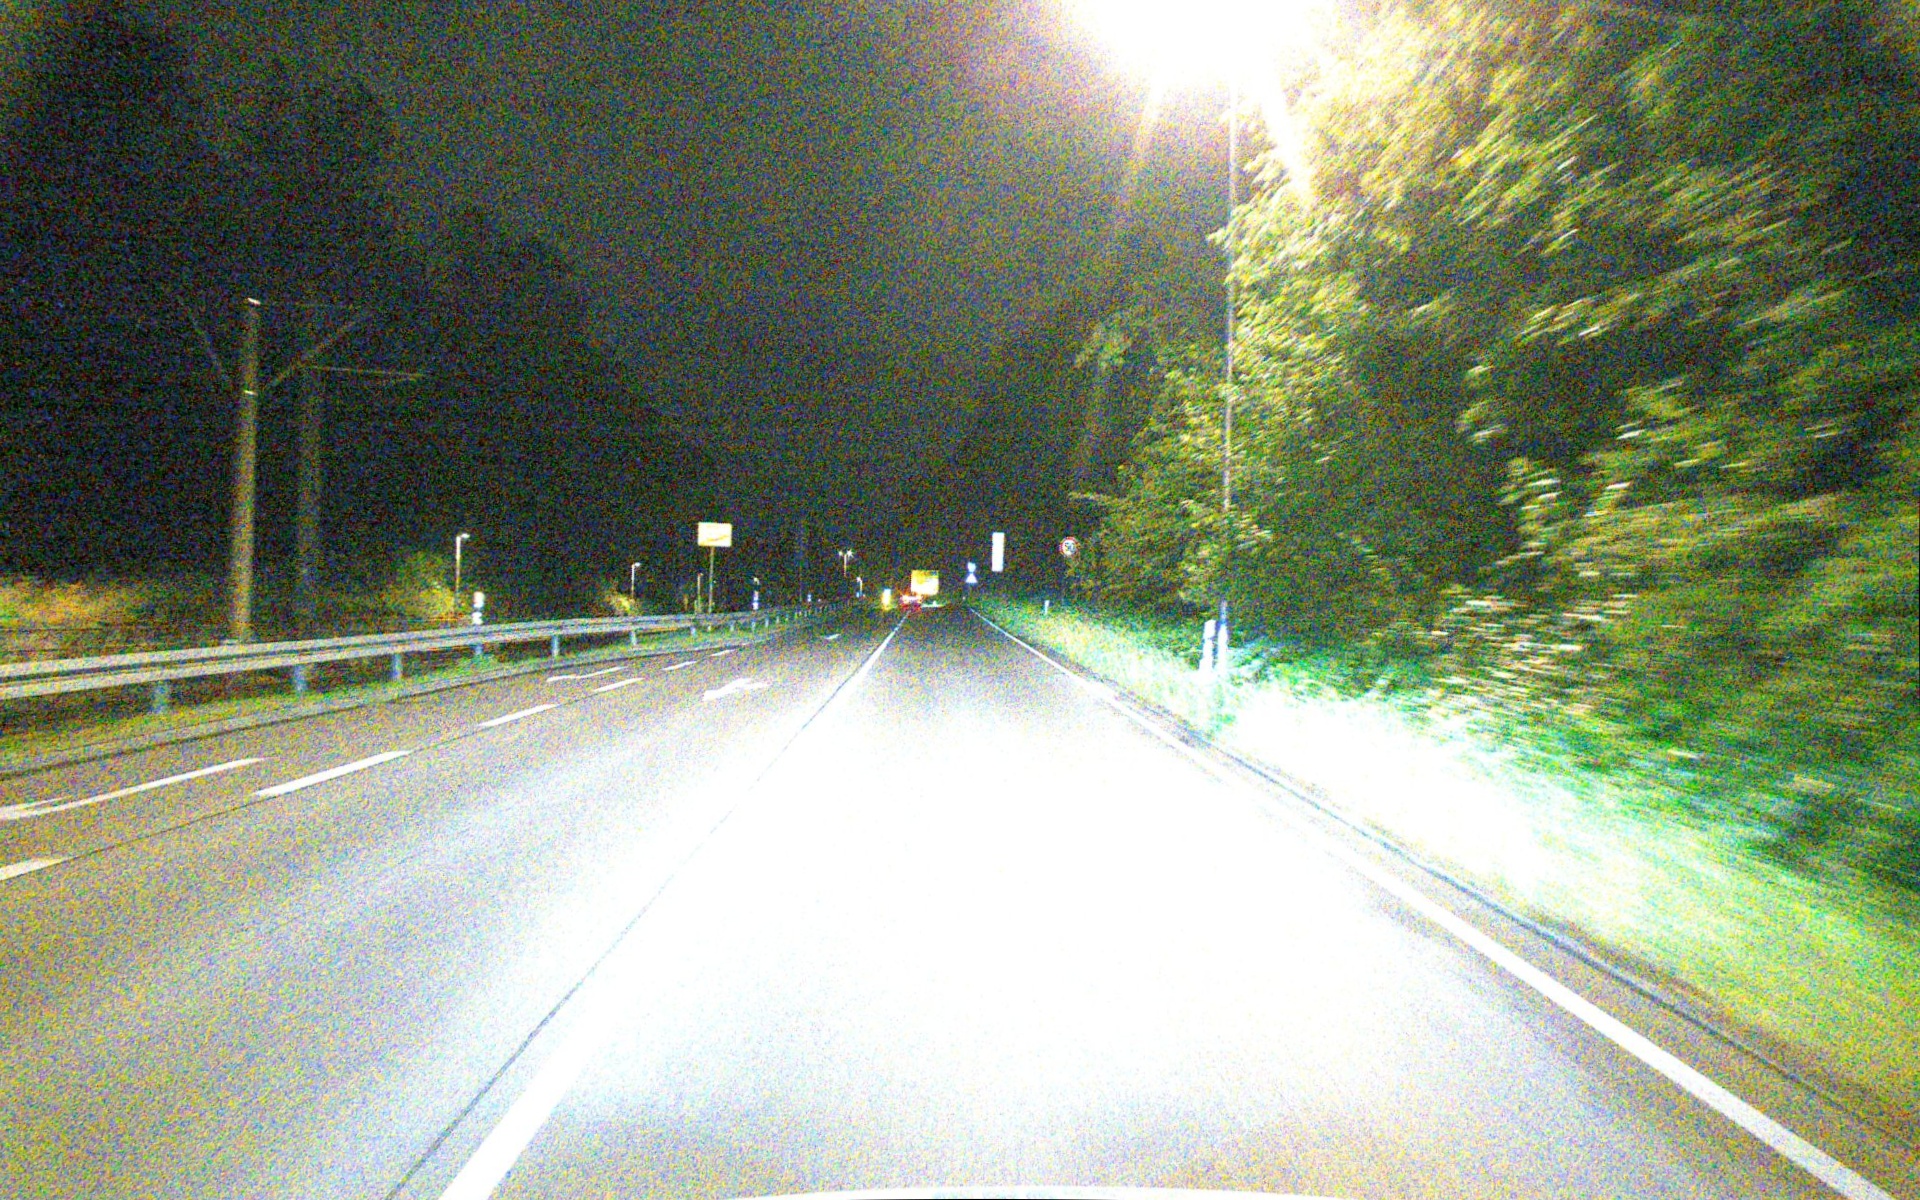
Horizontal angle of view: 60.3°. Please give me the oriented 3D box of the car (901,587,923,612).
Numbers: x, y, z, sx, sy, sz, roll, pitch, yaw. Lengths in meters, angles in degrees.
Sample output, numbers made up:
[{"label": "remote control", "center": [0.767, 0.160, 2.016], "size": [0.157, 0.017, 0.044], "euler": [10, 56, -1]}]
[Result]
[{"label": "car", "center": [-4.599, -0.063, 157.040], "size": [1.953, 2.049, 3.997], "euler": [3, -3, -2]}]
